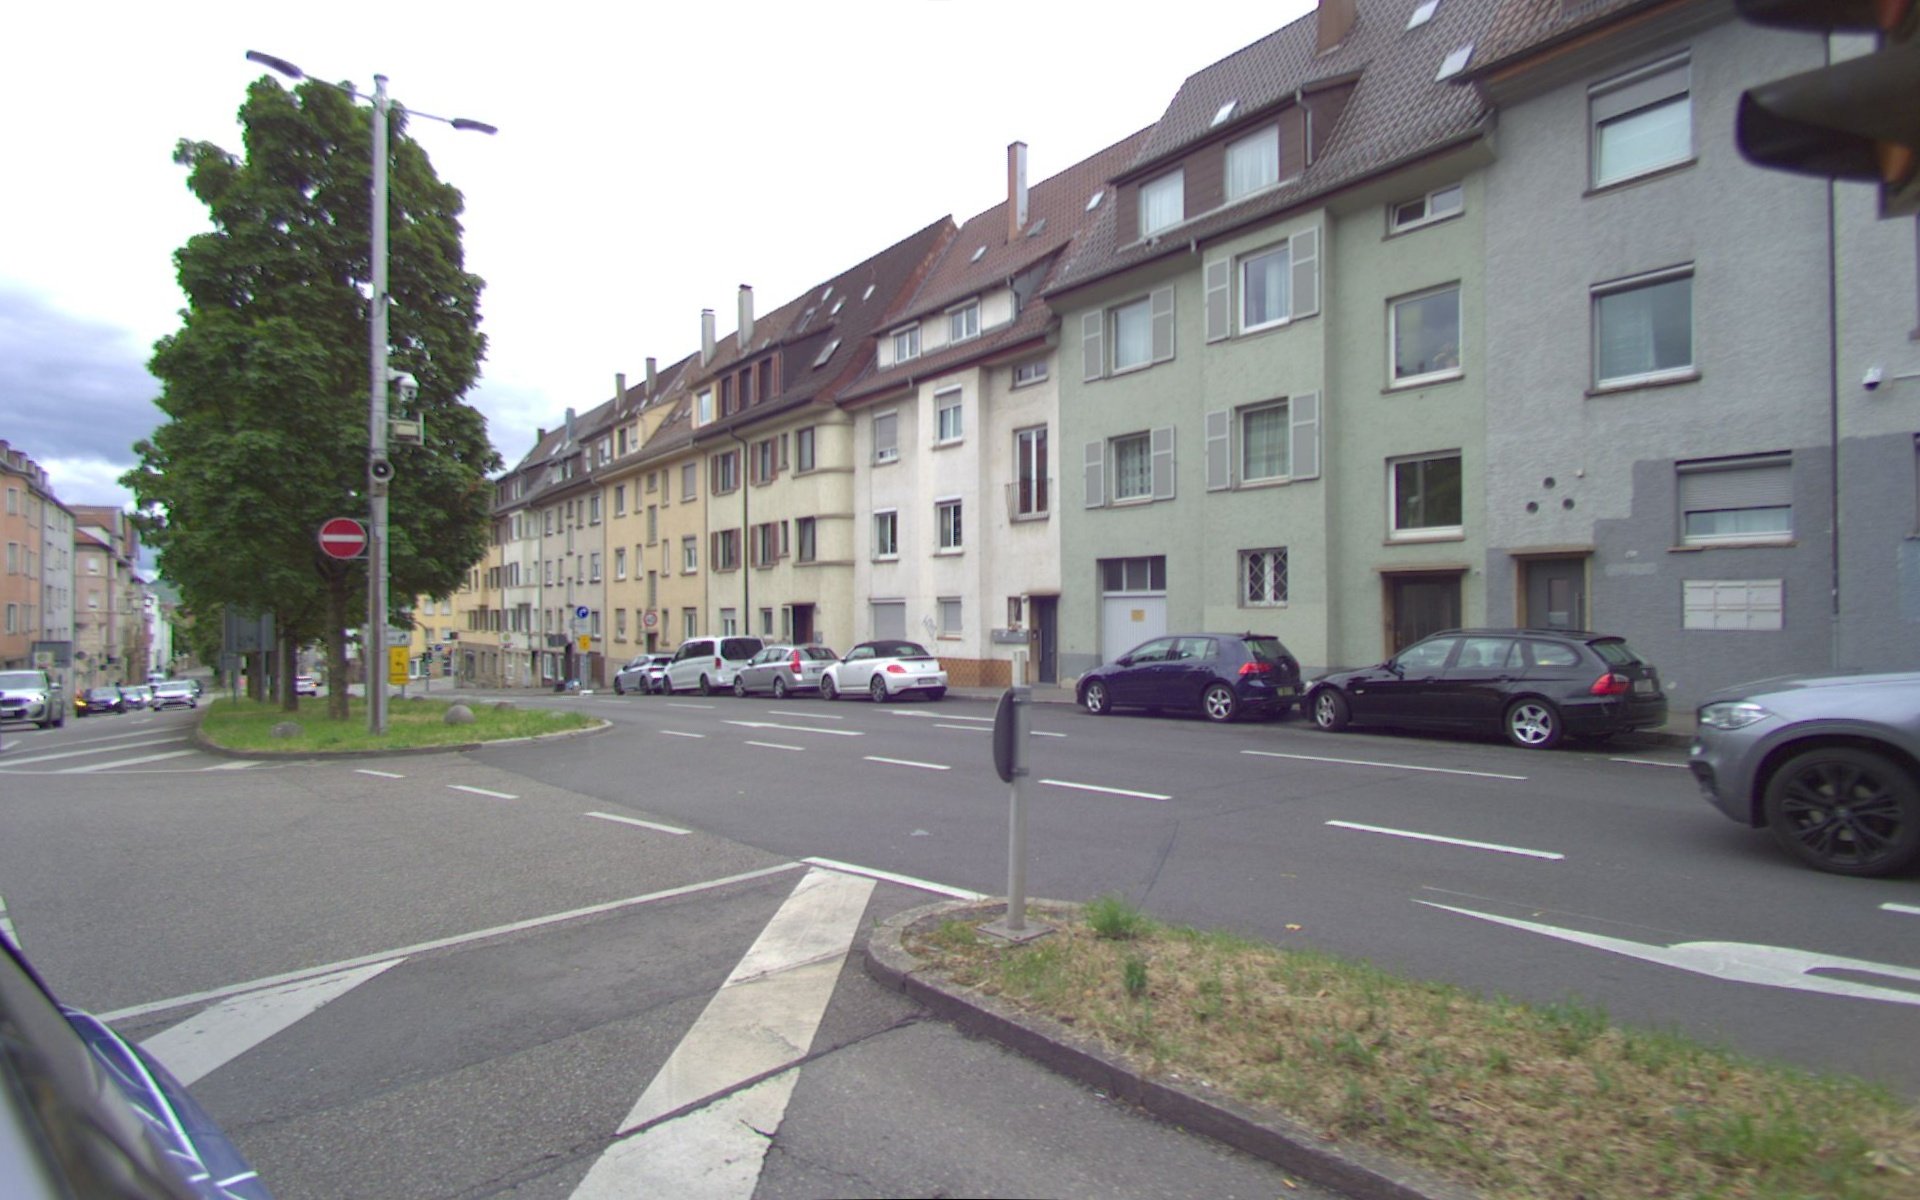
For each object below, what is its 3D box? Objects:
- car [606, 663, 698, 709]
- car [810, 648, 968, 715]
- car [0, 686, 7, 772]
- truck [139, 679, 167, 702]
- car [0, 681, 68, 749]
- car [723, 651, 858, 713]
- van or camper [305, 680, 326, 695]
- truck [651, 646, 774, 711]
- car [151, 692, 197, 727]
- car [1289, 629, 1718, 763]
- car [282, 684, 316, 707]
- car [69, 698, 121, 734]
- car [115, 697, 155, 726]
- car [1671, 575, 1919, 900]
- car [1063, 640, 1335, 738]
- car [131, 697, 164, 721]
[{"bbox_3d":[-11.731,3.267,38.387,1.968,1.564,4.166,0,-5,-37],"label":"car"},{"bbox_3d":[-1.863,2.033,25.266,1.967,1.486,4.167,0,-4,-36],"label":"car"},{"bbox_3d":[-16.352,2.128,15.924,1.579,1.468,3.692,-2,-4,-37],"label":"car"},{"bbox_3d":[-110.388,12.385,138.529,2.512,2.930,7.795,1,-5,-35],"label":"truck"},{"bbox_3d":[-25.478,3.135,27.308,1.753,1.619,4.172,-3,-3,-37],"label":"car"},{"bbox_3d":[-4.945,2.361,29.110,1.968,1.564,4.391,0,-5,-37],"label":"car"},{"bbox_3d":[-80.130,10.904,125.850,1.882,1.775,4.665,-1,-4,-36],"label":"van or camper"},{"bbox_3d":[-8.348,2.626,33.730,1.967,1.935,5.358,0,-5,-37],"label":"truck"},{"bbox_3d":[-40.373,5.596,51.973,1.756,1.605,3.540,3,-5,-38],"label":"car"},{"bbox_3d":[6.896,1.197,13.349,1.967,1.411,4.528,0,-4,-36],"label":"car"},{"bbox_3d":[-46.798,6.739,71.631,1.723,1.478,4.595,0,-5,-37],"label":"car"},{"bbox_3d":[-42.822,5.703,50.156,1.756,1.605,3.540,3,-5,-38],"label":"car"},{"bbox_3d":[-50.526,6.791,62.042,1.756,1.605,3.540,3,-5,-38],"label":"car"},{"bbox_3d":[6.665,0.678,4.891,1.846,1.711,4.943,1,-3,-41],"label":"car"},{"bbox_3d":[3.993,1.456,17.486,1.968,1.434,4.218,1,-3,-40],"label":"car"},{"bbox_3d":[-58.561,7.843,72.997,1.756,1.605,3.540,3,-5,-38],"label":"car"}]
